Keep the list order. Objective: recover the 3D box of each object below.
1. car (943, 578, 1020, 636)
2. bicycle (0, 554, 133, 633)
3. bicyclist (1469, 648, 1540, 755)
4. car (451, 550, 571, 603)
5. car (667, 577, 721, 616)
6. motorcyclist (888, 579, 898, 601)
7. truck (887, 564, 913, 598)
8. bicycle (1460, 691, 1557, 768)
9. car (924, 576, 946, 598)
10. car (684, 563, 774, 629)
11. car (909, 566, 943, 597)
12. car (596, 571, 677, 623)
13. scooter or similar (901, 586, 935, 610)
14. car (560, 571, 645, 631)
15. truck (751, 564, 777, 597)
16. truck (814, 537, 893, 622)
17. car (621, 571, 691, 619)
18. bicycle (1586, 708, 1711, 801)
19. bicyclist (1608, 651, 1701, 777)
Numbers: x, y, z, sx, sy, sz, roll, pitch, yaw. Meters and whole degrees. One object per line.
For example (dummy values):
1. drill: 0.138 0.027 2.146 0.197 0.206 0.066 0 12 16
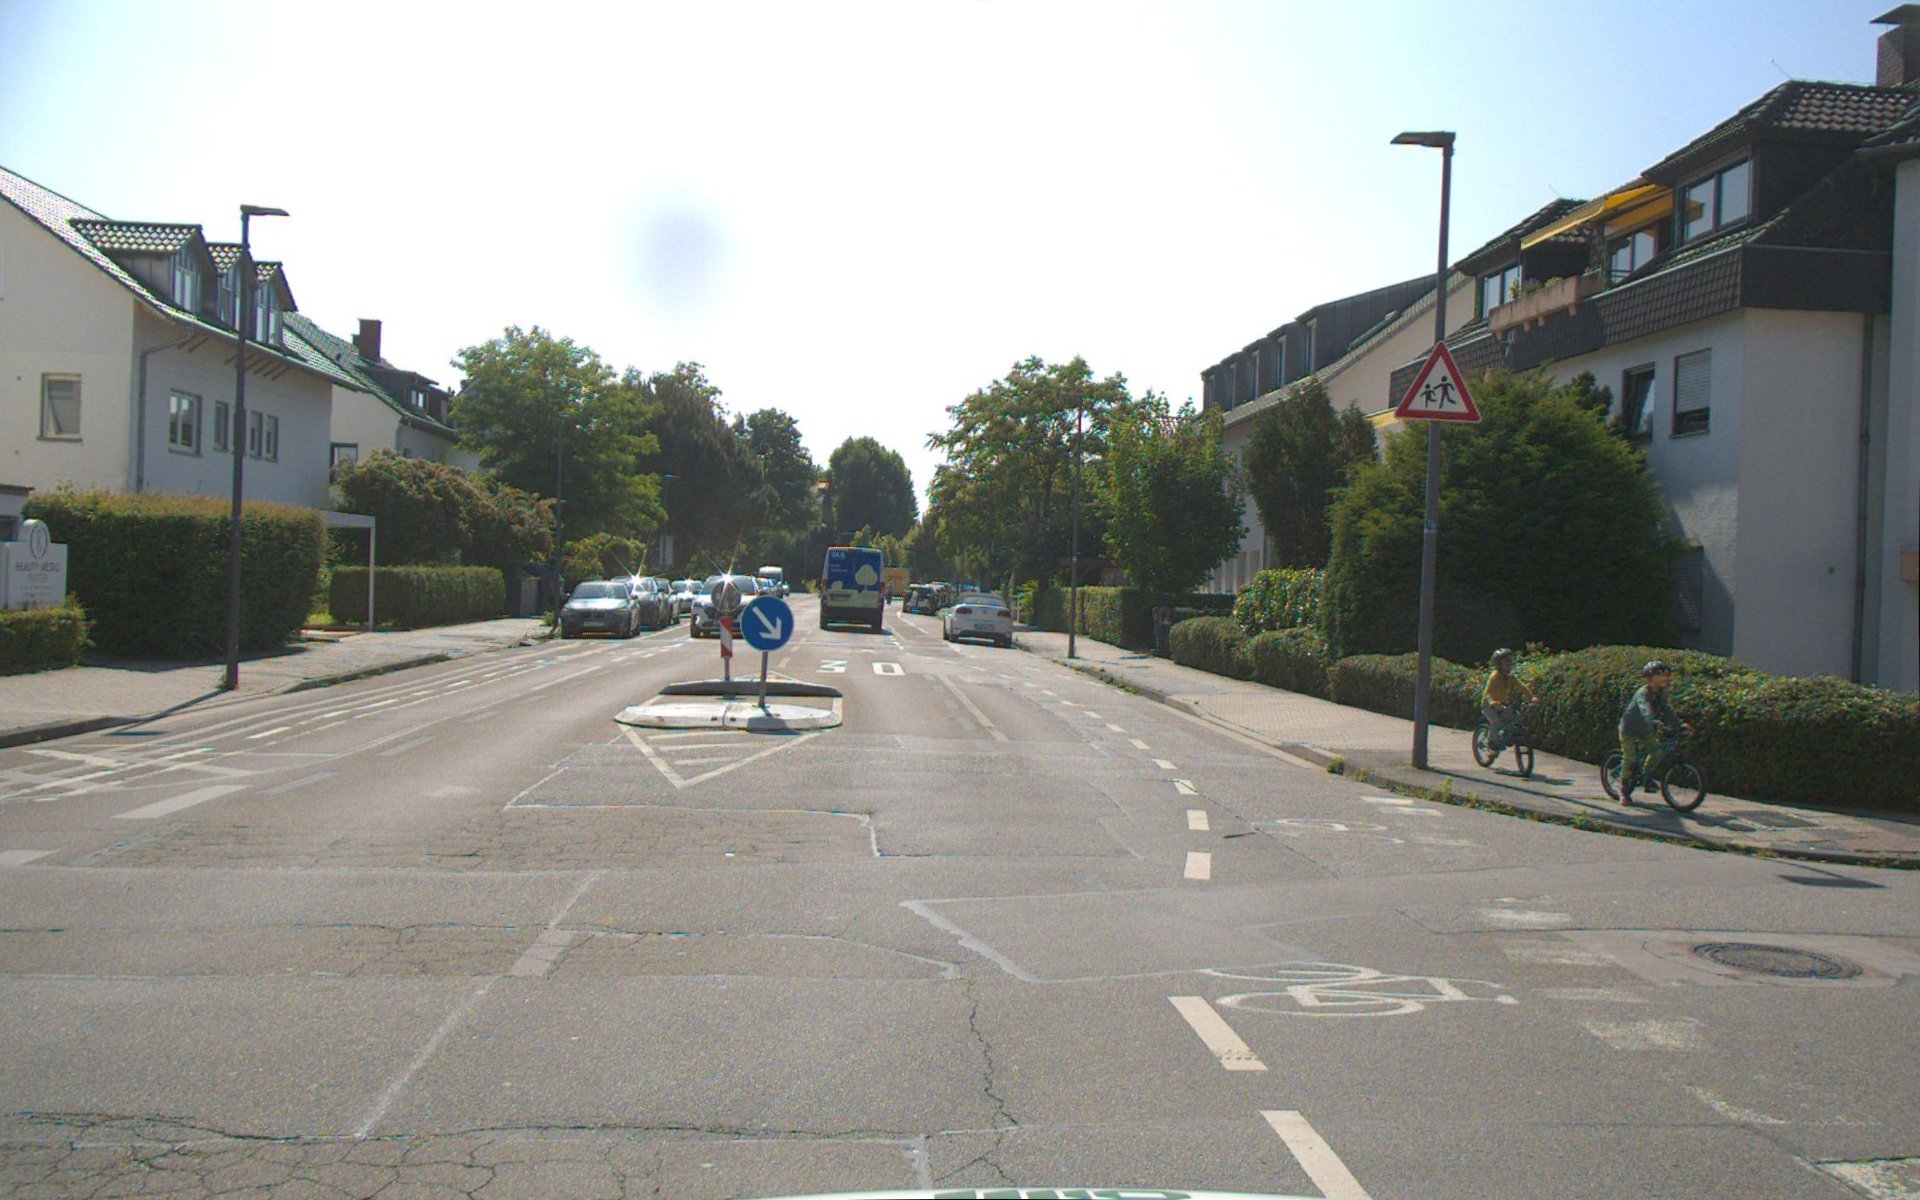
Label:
1. car: 0.578 0.171 46.992 1.707 1.426 4.070 5 1 -5
2. bicycle: -14.112 -0.097 25.441 2.411 1.124 0.531 2 6 -36
3. bicyclist: 5.075 0.939 15.444 0.391 0.949 0.608 2 0 -6
4. car: -16.590 -0.886 61.250 3.908 1.790 1.999 2 1 -4
5. car: -10.588 -0.169 66.018 1.750 1.465 3.997 1 1 -4
6. motorcyclist: -4.758 -0.718 116.882 0.659 1.545 0.652 2 0 -4
7. truck: -5.558 -1.737 153.409 2.170 2.998 5.682 2 0 -3
8. bicycle: 5.084 1.190 15.376 0.393 0.610 1.150 1 1 -6
9. car: -1.952 -1.031 129.062 1.666 1.706 3.774 0 1 -1
10. car: -6.236 -0.111 45.098 1.876 1.695 4.505 0 0 -1
11. car: -1.985 -1.061 94.901 1.749 1.666 4.468 2 1 -3
12. car: -9.635 -0.109 49.562 1.749 1.465 4.109 1 1 -2
13. scooter or similar: -2.347 -0.117 92.141 1.765 1.173 0.716 6 0 41
14. car: -9.184 -0.002 42.745 1.751 1.465 4.149 0 1 -7
15. truck: -16.098 -1.643 135.850 2.041 2.581 5.460 2 1 -7
16. truck: -3.547 -0.667 54.274 2.229 2.616 4.385 2 0 -8
17. car: -10.095 -0.181 55.176 1.750 1.465 3.998 2 1 -3
18. bicycle: 5.483 1.219 13.228 0.393 0.610 1.172 1 1 -6
19. bicyclist: 5.509 0.895 13.138 0.393 0.945 0.657 2 0 -6
